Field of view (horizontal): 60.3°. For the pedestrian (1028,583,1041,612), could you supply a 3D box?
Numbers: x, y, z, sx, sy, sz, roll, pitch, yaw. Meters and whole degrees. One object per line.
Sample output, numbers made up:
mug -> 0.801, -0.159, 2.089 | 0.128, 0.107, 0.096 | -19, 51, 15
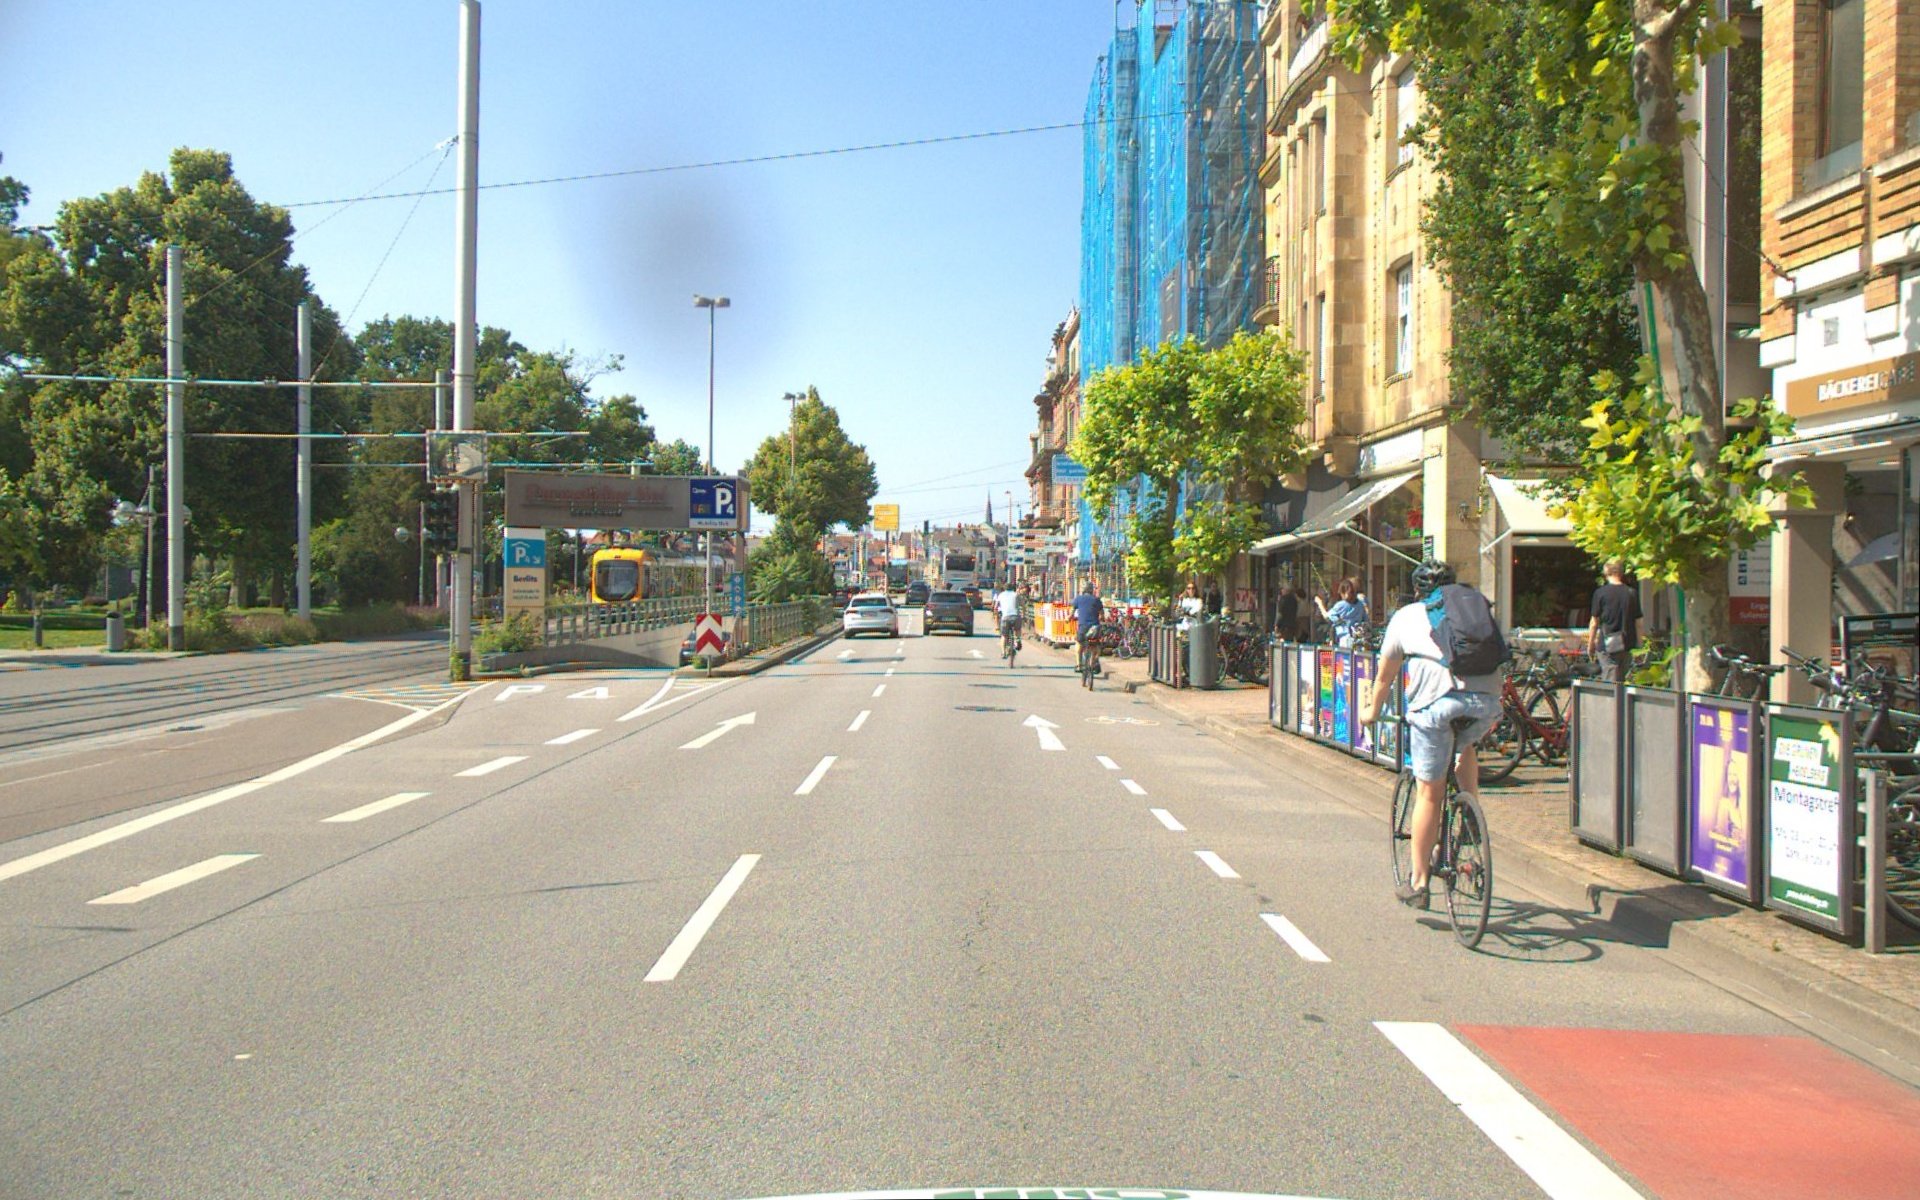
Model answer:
pedestrian -> 4.272, -0.158, 94.869 | 0.641, 1.649, 0.815 | -1, 1, -3

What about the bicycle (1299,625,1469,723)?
bicycle -> 4.591, 0.799, 17.937 | 1.718, 1.036, 0.482 | 0, 0, -3

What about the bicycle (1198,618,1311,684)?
bicycle -> 4.780, 0.824, 26.870 | 1.718, 1.036, 0.587 | 0, 0, -3

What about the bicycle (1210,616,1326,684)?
bicycle -> 4.789, 0.777, 25.744 | 1.718, 1.036, 0.482 | 0, 0, -3

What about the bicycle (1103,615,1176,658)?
bicycle -> 4.383, 0.896, 40.391 | 1.718, 1.036, 0.482 | 0, 0, -3

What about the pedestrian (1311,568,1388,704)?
pedestrian -> 4.857, 0.435, 20.641 | 0.683, 1.654, 0.700 | -1, 0, -11

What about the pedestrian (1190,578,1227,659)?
pedestrian -> 5.918, 0.433, 39.385 | 0.797, 1.881, 0.892 | -1, 0, 6

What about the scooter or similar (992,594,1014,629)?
scooter or similar -> 1.521, 0.395, 58.939 | 0.674, 1.188, 1.463 | 2, 0, -1

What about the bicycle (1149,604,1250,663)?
bicycle -> 4.360, 0.601, 30.103 | 1.717, 1.036, 0.657 | 1, 0, 22

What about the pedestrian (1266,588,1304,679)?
pedestrian -> 6.253, 0.643, 31.840 | 0.526, 1.712, 0.498 | -1, -1, -12

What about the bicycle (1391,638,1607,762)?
bicycle -> 4.654, 0.856, 14.308 | 1.718, 1.036, 0.482 | 0, 0, -3

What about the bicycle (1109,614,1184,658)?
bicycle -> 4.469, 0.869, 39.623 | 1.718, 1.036, 0.482 | 0, 0, -3

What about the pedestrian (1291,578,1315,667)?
pedestrian -> 6.670, 0.442, 32.161 | 0.372, 1.712, 0.477 | -1, 0, 19

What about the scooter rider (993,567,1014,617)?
scooter rider -> 1.558, -0.274, 58.975 | 0.674, 1.759, 0.778 | 2, 0, -1

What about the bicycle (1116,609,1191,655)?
bicycle -> 4.530, 0.744, 38.692 | 1.729, 1.036, 0.479 | 0, 0, -24

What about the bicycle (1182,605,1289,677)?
bicycle -> 4.676, 0.697, 28.122 | 1.718, 1.202, 0.579 | 0, 0, -3

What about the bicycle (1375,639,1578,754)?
bicycle -> 4.648, 0.867, 14.916 | 1.683, 1.002, 0.482 | 0, 0, -3

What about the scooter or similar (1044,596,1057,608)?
scooter or similar -> 5.328, 0.114, 97.411 | 0.677, 0.661, 0.565 | -4, 0, -2

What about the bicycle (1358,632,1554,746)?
bicycle -> 4.679, 0.836, 15.642 | 1.718, 1.036, 0.482 | 0, 0, -3

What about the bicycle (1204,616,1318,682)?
bicycle -> 4.781, 0.776, 26.280 | 1.718, 1.036, 0.482 | 0, 0, -3

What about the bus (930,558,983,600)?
bus -> -0.324, -1.533, 120.629 | 2.912, 2.825, 8.631 | 2, 0, -6

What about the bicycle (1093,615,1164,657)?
bicycle -> 4.234, 0.910, 41.568 | 1.718, 1.036, 0.482 | 0, 0, -3

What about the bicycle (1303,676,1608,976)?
bicycle -> 2.279, 0.988, 7.930 | 0.719, 1.112, 2.130 | 2, 0, -2

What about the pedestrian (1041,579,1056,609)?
pedestrian -> 5.221, -0.356, 97.977 | 0.740, 1.684, 0.837 | -3, 0, -2

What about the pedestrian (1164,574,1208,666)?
pedestrian -> 4.274, 0.379, 31.264 | 0.645, 1.712, 0.651 | 0, -1, -12

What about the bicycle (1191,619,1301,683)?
bicycle -> 4.735, 0.849, 27.459 | 1.718, 1.036, 0.557 | 0, 0, -3

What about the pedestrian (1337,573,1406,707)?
pedestrian -> 5.270, 0.500, 21.208 | 0.588, 1.654, 0.642 | -3, 0, -11

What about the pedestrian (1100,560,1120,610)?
pedestrian -> 5.510, -0.549, 60.746 | 0.626, 1.807, 0.649 | 2, 0, -1

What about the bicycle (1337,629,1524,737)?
bicycle -> 4.645, 0.812, 16.369 | 1.718, 1.036, 0.482 | 0, 0, -3

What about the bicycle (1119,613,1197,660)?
bicycle -> 4.510, 0.831, 37.698 | 1.718, 1.036, 0.482 | 0, 0, -3

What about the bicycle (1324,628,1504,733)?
bicycle -> 4.630, 0.818, 16.904 | 1.718, 1.036, 0.482 | 0, 0, -3

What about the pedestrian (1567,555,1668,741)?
pedestrian -> 6.586, 0.465, 16.608 | 0.654, 1.812, 0.985 | 0, 0, 3

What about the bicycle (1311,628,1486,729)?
bicycle -> 4.612, 0.821, 17.422 | 1.718, 1.036, 0.482 | 0, 0, -3
